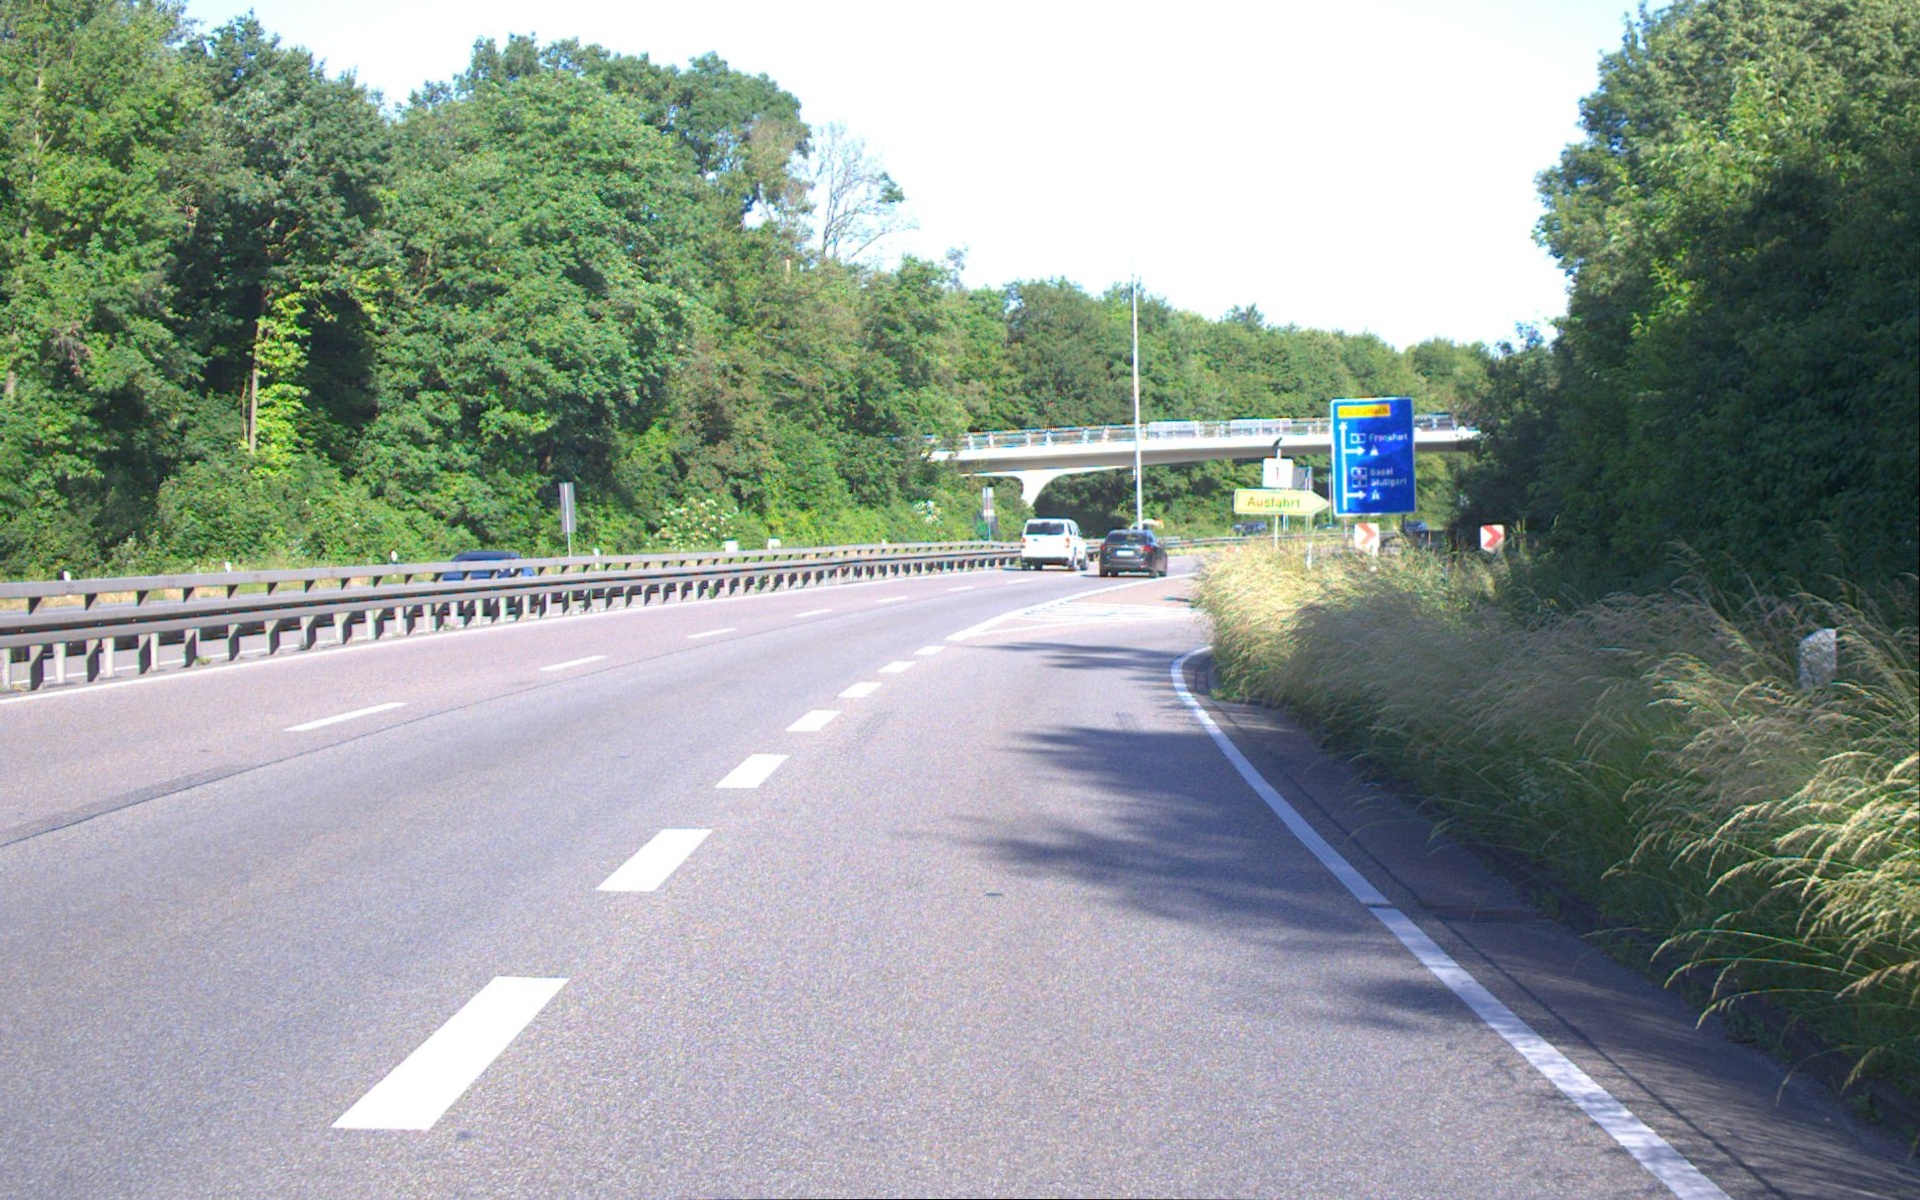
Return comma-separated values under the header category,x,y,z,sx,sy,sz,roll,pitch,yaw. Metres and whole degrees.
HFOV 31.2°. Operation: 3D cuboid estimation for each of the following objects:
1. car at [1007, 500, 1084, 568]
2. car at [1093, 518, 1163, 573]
category,x,y,z,sx,sy,sz,roll,pitch,yaw
car,2.944,-2.243,117.672,1.994,2.269,3.998,0,1,11
car,5.250,-1.697,107.155,1.740,1.656,3.944,0,1,9
